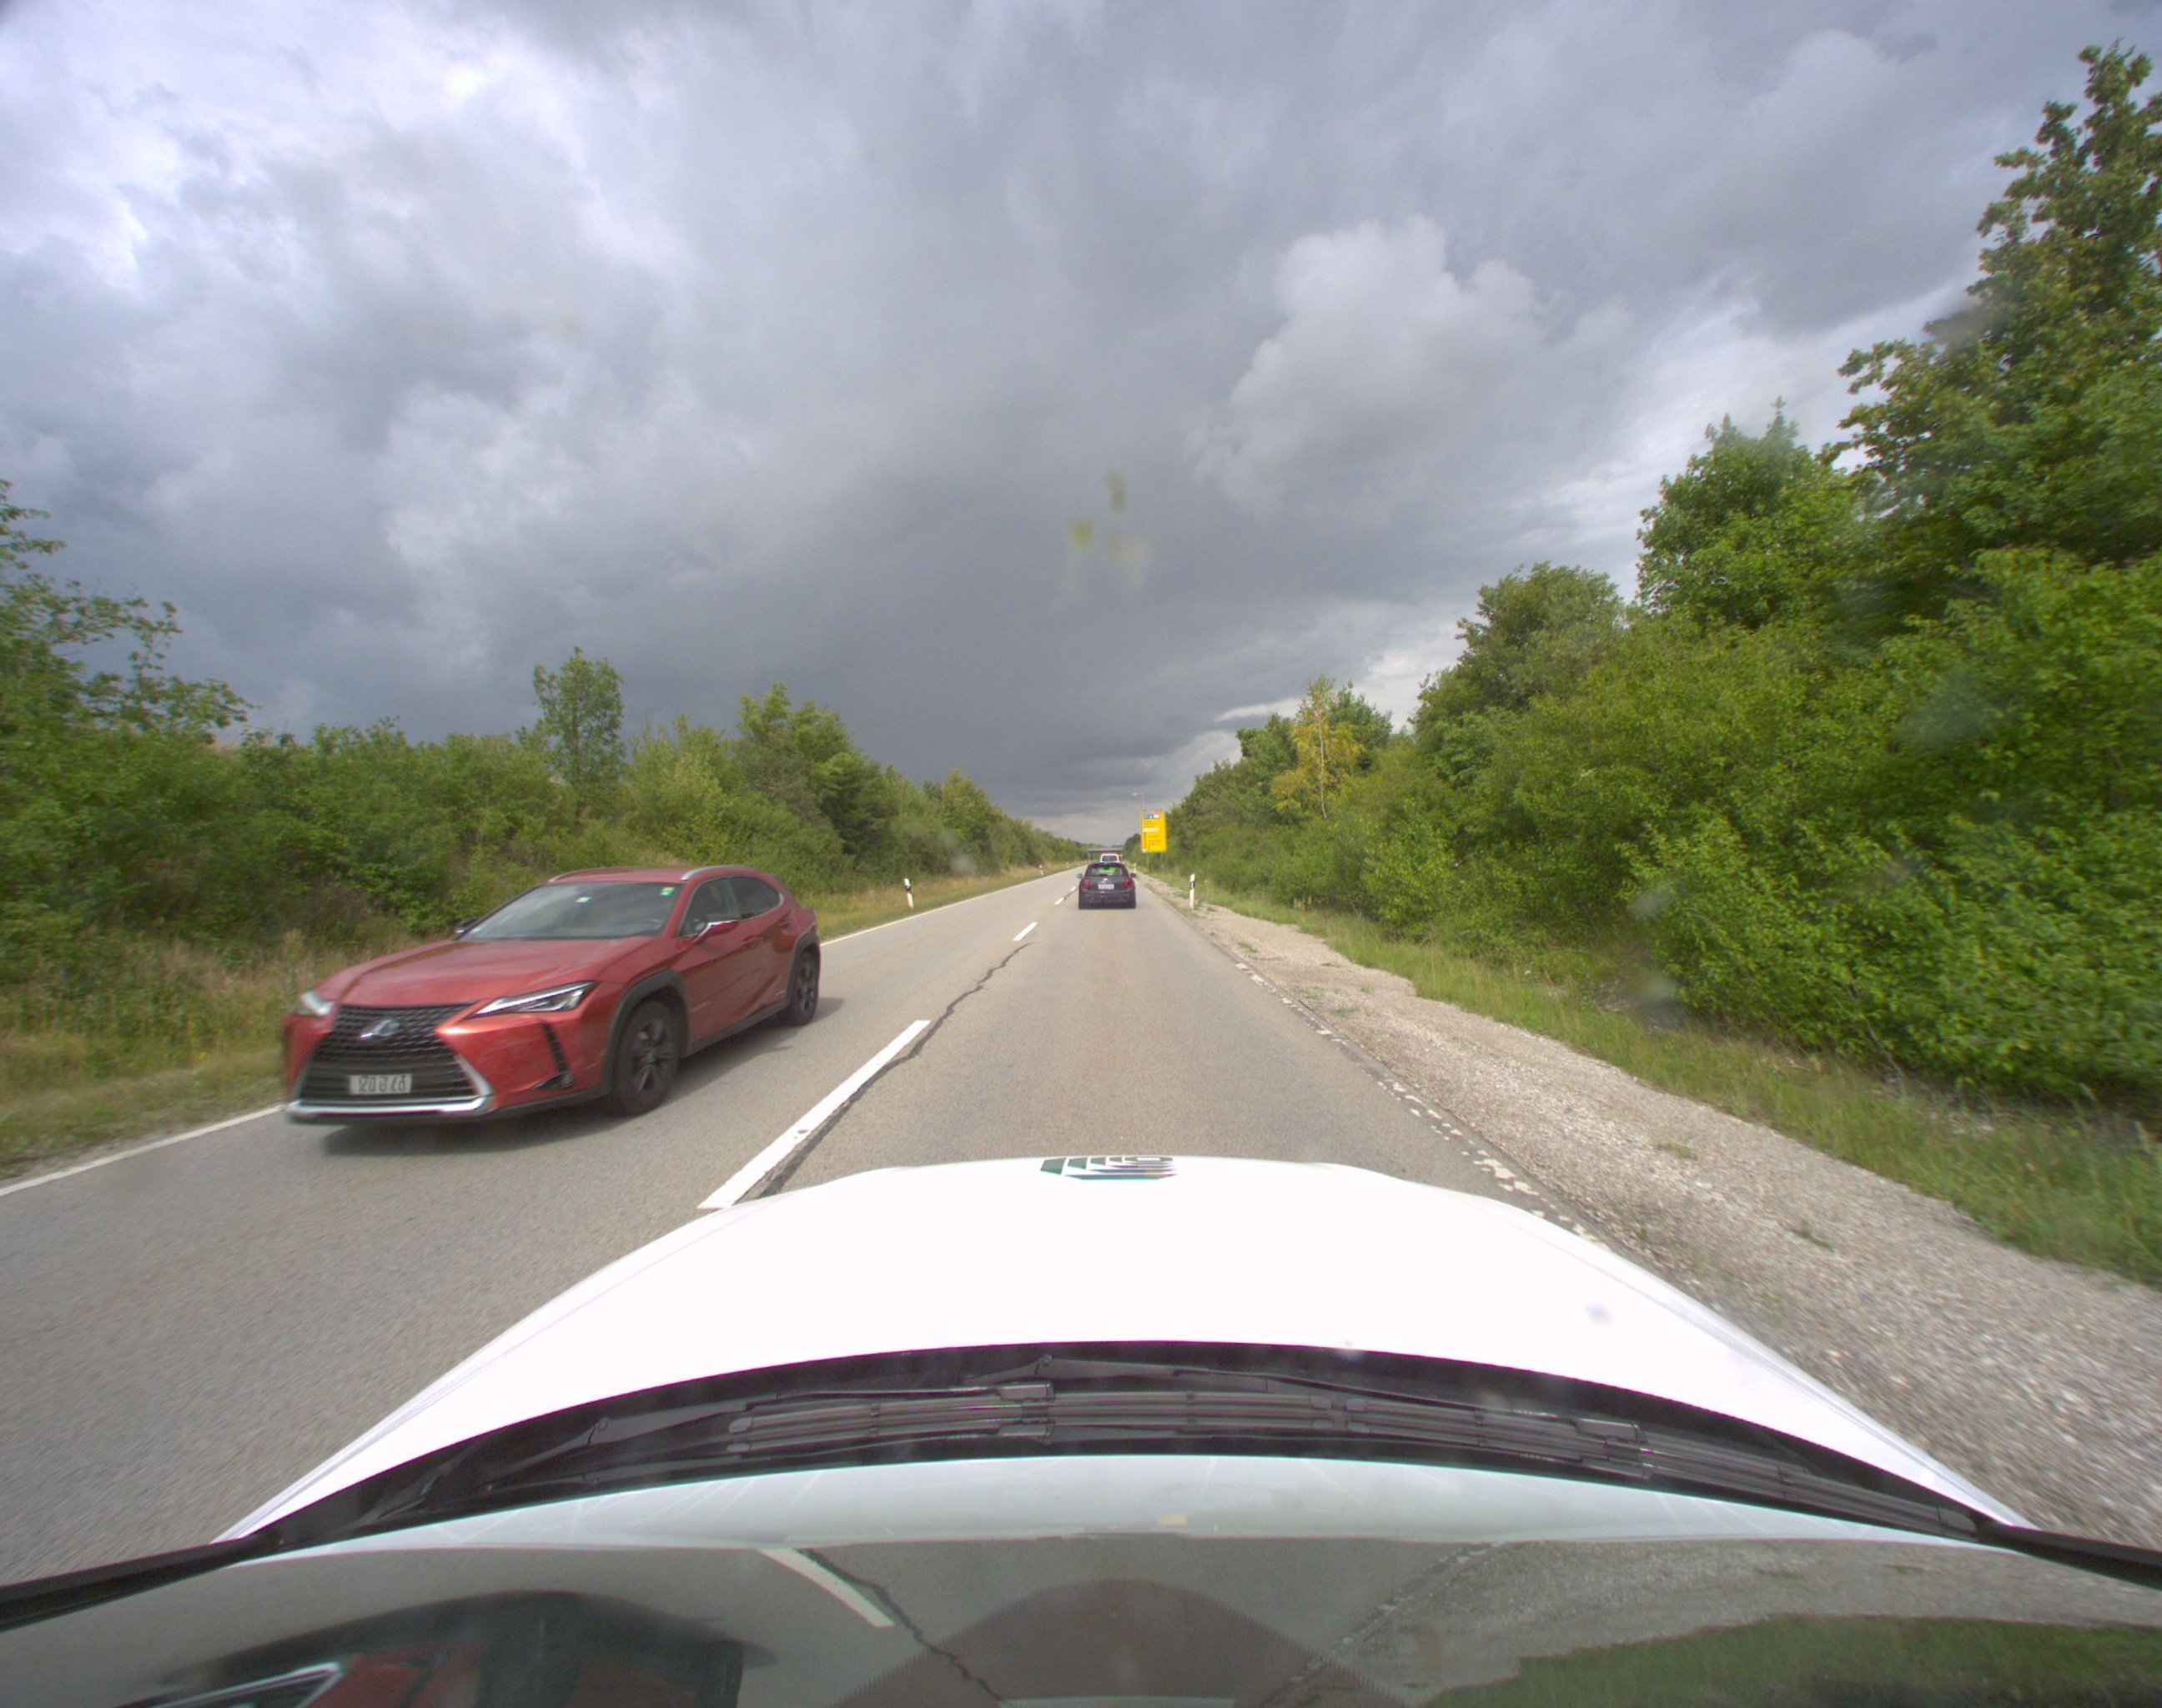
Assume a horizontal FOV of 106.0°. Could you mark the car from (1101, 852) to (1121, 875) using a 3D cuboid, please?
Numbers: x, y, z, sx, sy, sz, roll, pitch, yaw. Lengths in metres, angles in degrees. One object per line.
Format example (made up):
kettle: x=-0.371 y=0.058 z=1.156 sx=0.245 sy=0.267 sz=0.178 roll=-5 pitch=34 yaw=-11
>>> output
car: x=2.778 y=0.912 z=75.784 sx=1.813 sy=2.055 sz=4.001 roll=0 pitch=-1 yaw=2

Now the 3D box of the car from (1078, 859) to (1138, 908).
car: x=0.844 y=0.898 z=25.936 sx=1.750 sy=1.427 sz=4.001 roll=0 pitch=-1 yaw=2

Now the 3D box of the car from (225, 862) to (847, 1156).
car: x=-3.470 y=0.827 z=6.434 sx=1.822 sy=1.465 sz=4.413 roll=-1 pitch=0 yaw=2
